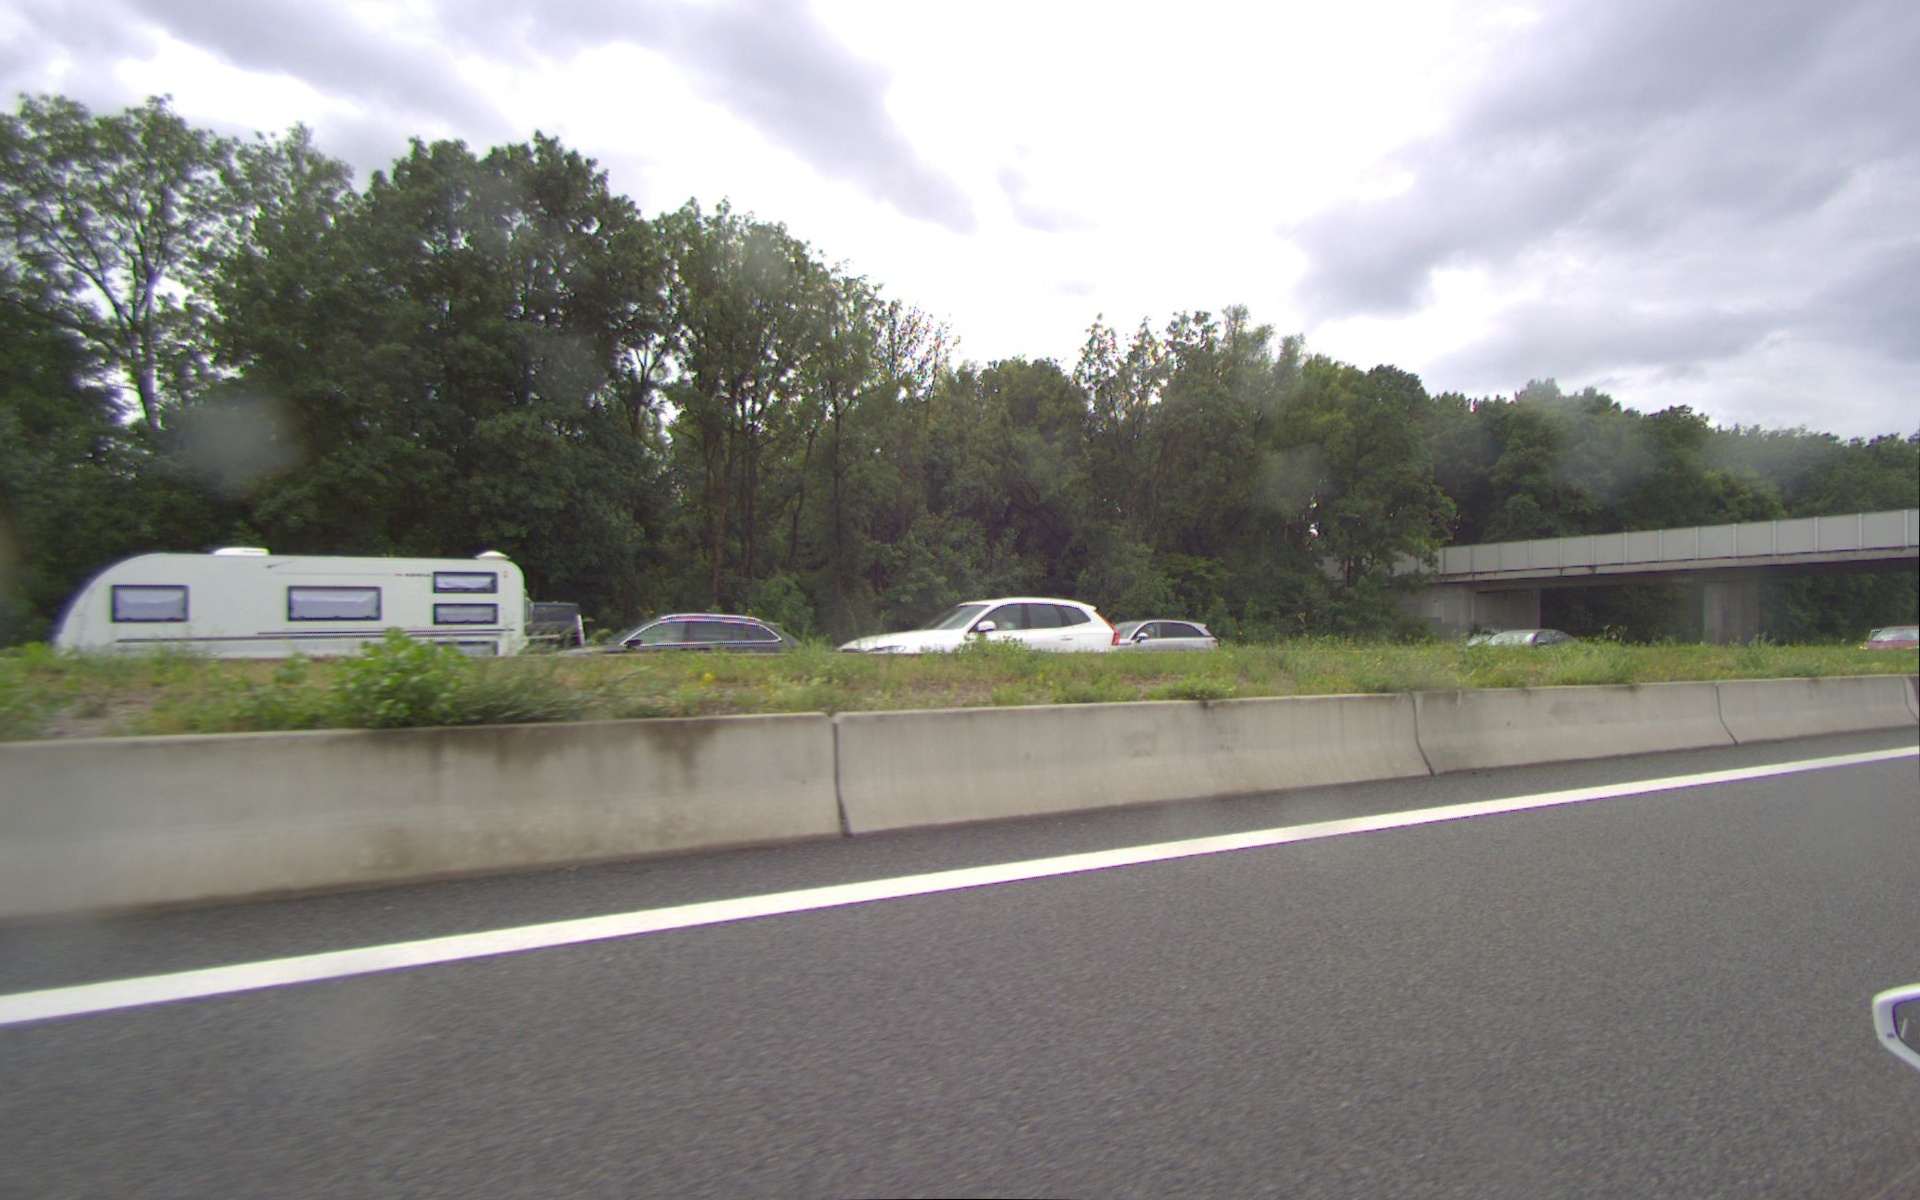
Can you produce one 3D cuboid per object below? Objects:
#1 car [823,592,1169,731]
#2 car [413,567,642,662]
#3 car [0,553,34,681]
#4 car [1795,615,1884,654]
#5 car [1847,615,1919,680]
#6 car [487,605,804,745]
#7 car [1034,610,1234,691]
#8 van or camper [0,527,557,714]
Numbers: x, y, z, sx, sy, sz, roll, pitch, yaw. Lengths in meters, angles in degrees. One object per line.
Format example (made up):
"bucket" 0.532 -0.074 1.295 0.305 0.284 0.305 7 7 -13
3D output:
"car" 0.643 0.879 15.749 5.164 1.874 1.984 1 0 -30
"car" -10.089 0.350 23.515 4.732 2.040 2.034 1 0 -30
"car" -17.279 0.211 14.368 5.442 1.978 2.593 1 0 -30
"car" 47.335 1.854 54.056 4.772 1.978 2.210 1 0 -30
"car" 32.010 1.563 33.694 4.732 2.040 2.034 1 0 -30
"car" -5.221 1.144 16.828 4.732 2.040 2.034 1 0 -30
"car" 4.700 1.295 27.079 4.772 1.978 2.593 1 0 -30
"van or camper" -11.586 0.374 17.716 8.030 2.743 2.593 1 0 -31
